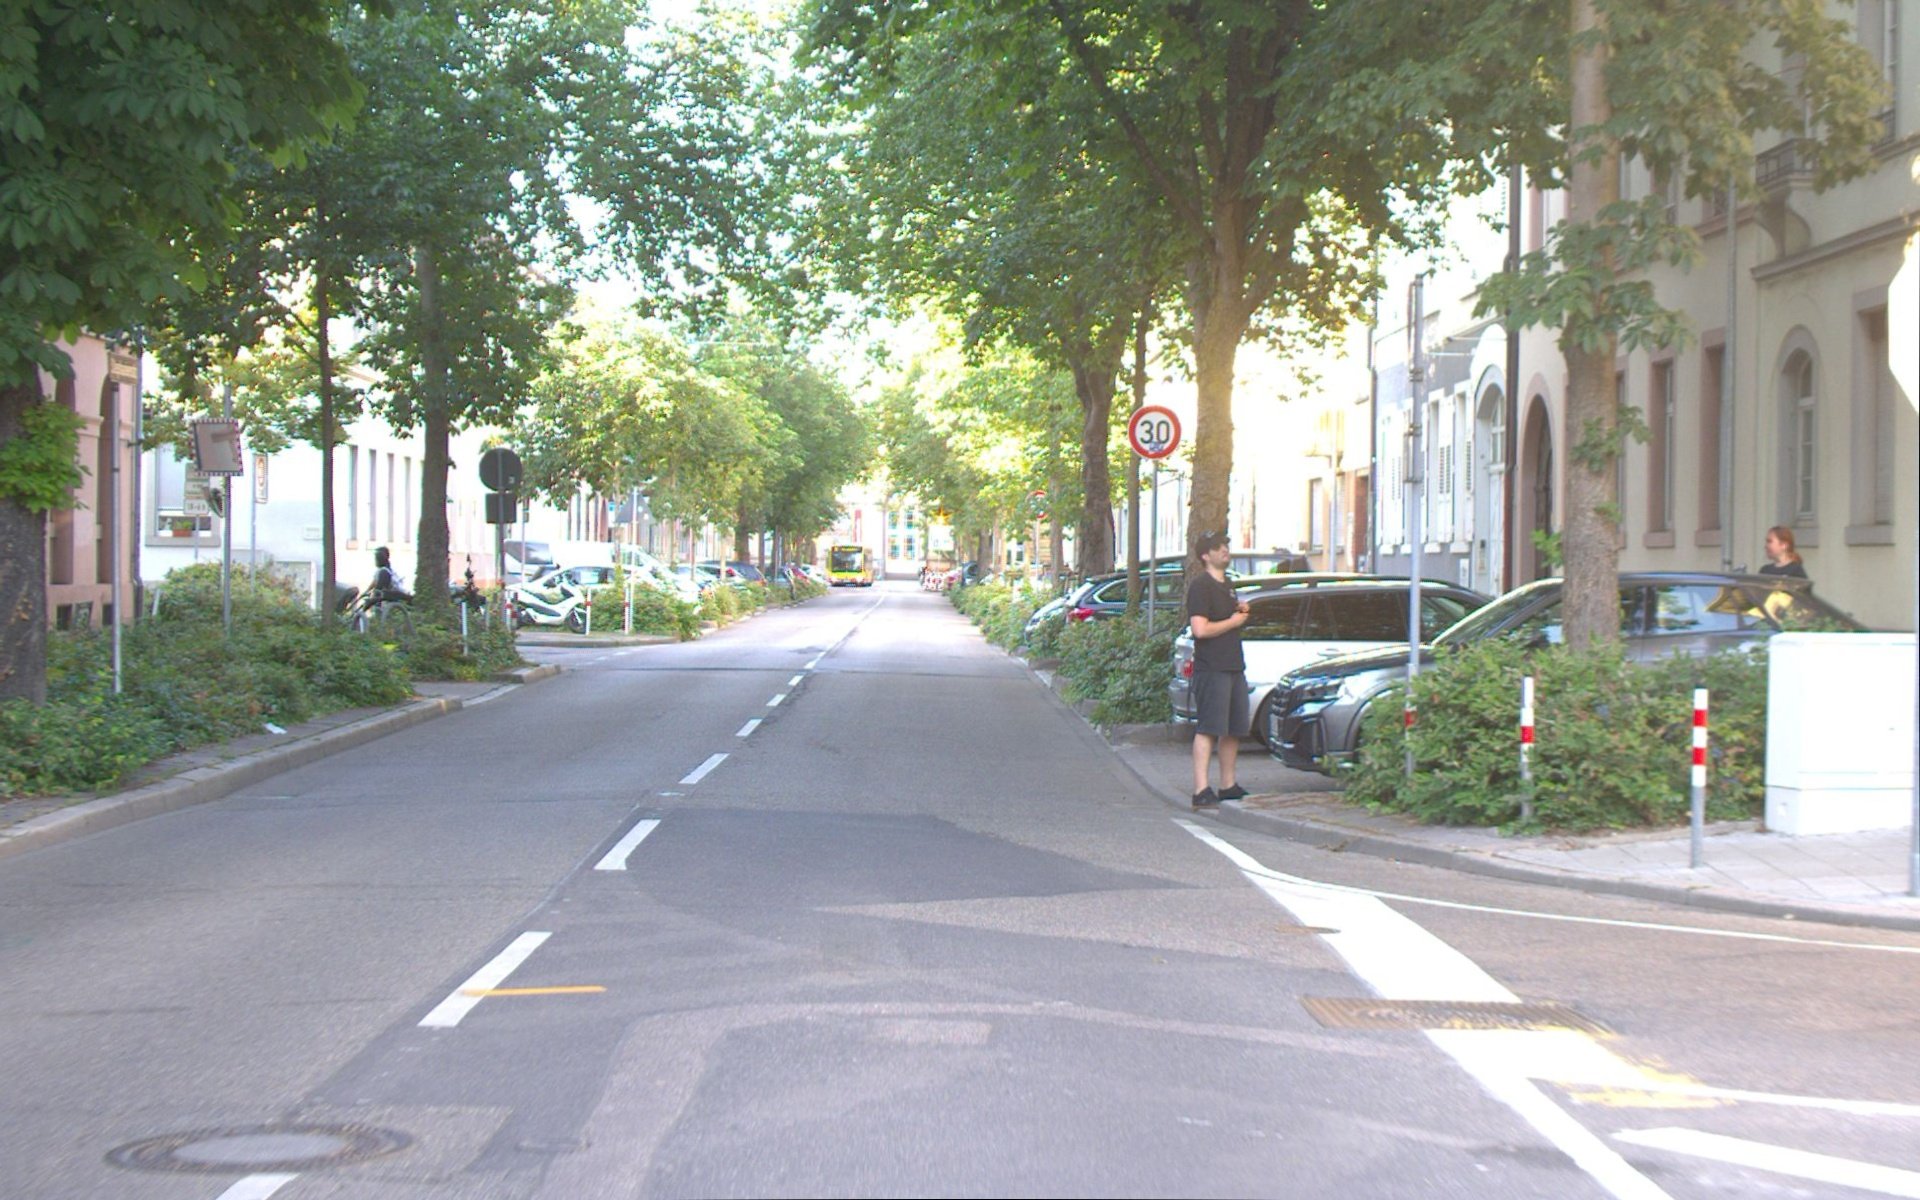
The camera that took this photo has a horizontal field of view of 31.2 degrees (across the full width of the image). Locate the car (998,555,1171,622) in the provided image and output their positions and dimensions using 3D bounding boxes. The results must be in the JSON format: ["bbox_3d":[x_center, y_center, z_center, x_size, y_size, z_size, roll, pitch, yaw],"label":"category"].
[{"bbox_3d":[3.319,-0.324,92.766,4.593,1.755,2.222,0,1,0],"label":"car"}]

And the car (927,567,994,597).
[{"bbox_3d":[0.032,-1.139,215.147,3.988,1.831,1.999,1,1,7],"label":"car"}]

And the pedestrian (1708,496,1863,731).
[{"bbox_3d":[6.098,0.087,25.439,0.943,1.700,0.782,1,2,1],"label":"pedestrian"}]

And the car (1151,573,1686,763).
[{"bbox_3d":[3.757,0.544,28.682,4.192,1.475,1.852,-1,1,0],"label":"car"}]

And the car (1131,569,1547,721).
[{"bbox_3d":[3.824,0.441,35.153,4.014,1.475,1.781,0,1,-2],"label":"car"}]

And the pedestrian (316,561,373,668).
[{"bbox_3d":[-9.636,0.219,53.866,0.718,1.658,0.838,0,1,2],"label":"pedestrian"}]

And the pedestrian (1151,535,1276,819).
[{"bbox_3d":[1.710,0.507,23.157,0.794,1.862,0.751,1,0,4],"label":"pedestrian"}]

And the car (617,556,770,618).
[{"bbox_3d":[-9.192,-0.459,118.863,5.064,2.076,2.263,0,1,1],"label":"car"}]

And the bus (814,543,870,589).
[{"bbox_3d":[-8.515,-2.442,246.340,3.027,3.179,9.405,1,1,-8],"label":"bus"}]

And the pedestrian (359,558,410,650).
[{"bbox_3d":[-8.869,0.057,53.009,0.655,1.390,0.607,2,0,-1],"label":"pedestrian"}]

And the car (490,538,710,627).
[{"bbox_3d":[-8.605,-0.422,82.539,5.064,2.076,2.263,0,1,-1],"label":"car"}]

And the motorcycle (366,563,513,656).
[{"bbox_3d":[-7.162,0.122,47.354,1.919,1.254,0.591,1,1,-1],"label":"motorcycle"}]

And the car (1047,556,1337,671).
[{"bbox_3d":[3.318,0.182,49.617,4.014,1.617,1.781,0,1,-2],"label":"car"}]

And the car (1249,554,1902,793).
[{"bbox_3d":[4.162,0.478,23.715,4.107,1.485,1.850,1,2,-2],"label":"car"}]

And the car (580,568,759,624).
[{"bbox_3d":[-8.632,-0.115,102.610,5.064,1.611,2.263,0,1,3],"label":"car"}]

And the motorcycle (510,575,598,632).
[{"bbox_3d":[-8.016,0.068,67.957,1.636,1.064,0.656,1,1,-1],"label":"motorcycle"}]

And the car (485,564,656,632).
[{"bbox_3d":[-8.707,-0.053,77.147,3.725,1.503,1.873,0,1,-4],"label":"car"}]

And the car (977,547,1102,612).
[{"bbox_3d":[2.612,-0.672,112.028,3.987,2.007,2.000,1,1,3],"label":"car"}]
